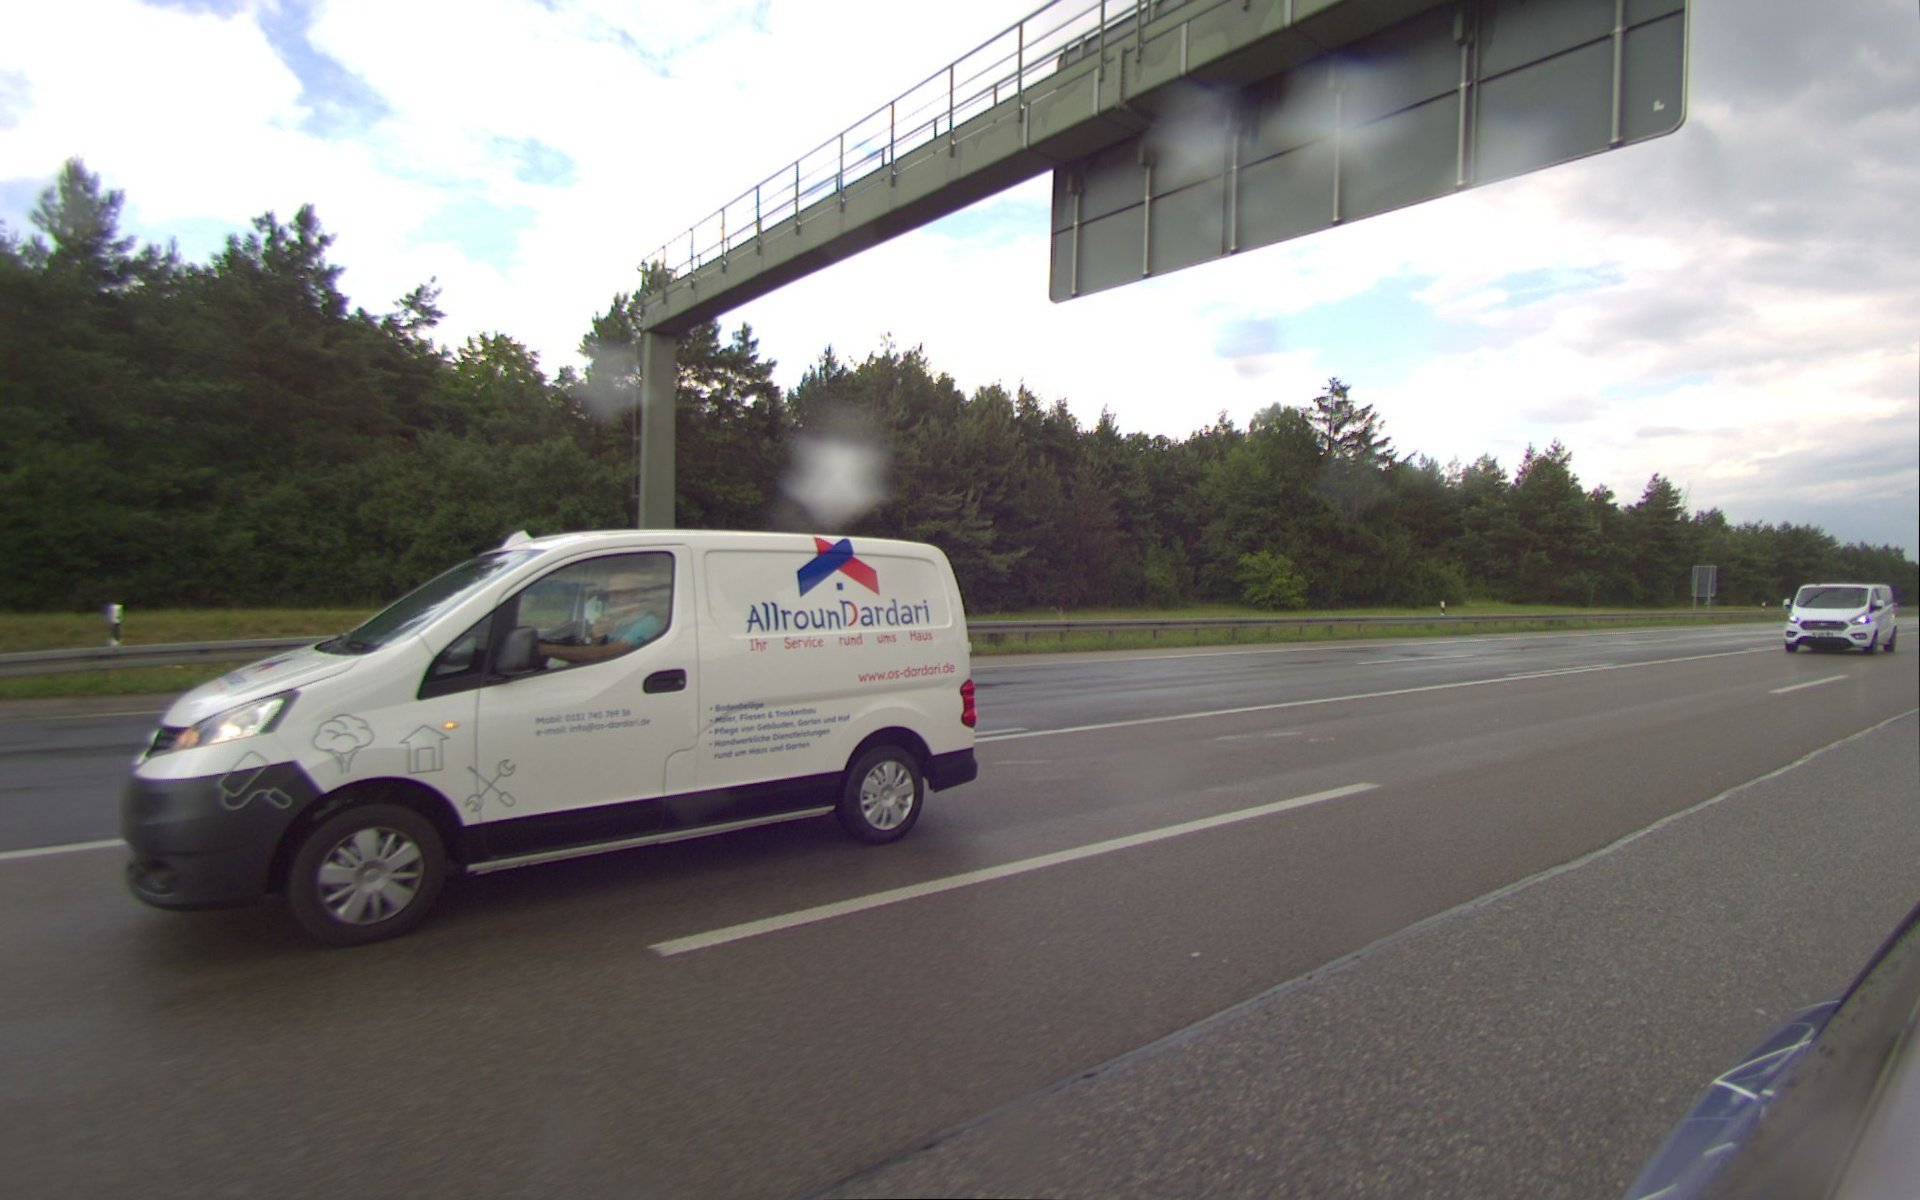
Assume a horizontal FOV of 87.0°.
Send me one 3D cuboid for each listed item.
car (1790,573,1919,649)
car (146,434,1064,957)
[{"bbox_3d":[26.373,0.292,29.690,5.382,2.039,1.999,0,0,-38],"label":"car"},{"bbox_3d":[-1.762,0.332,6.030,4.794,1.925,1.968,0,1,-40],"label":"car"}]
